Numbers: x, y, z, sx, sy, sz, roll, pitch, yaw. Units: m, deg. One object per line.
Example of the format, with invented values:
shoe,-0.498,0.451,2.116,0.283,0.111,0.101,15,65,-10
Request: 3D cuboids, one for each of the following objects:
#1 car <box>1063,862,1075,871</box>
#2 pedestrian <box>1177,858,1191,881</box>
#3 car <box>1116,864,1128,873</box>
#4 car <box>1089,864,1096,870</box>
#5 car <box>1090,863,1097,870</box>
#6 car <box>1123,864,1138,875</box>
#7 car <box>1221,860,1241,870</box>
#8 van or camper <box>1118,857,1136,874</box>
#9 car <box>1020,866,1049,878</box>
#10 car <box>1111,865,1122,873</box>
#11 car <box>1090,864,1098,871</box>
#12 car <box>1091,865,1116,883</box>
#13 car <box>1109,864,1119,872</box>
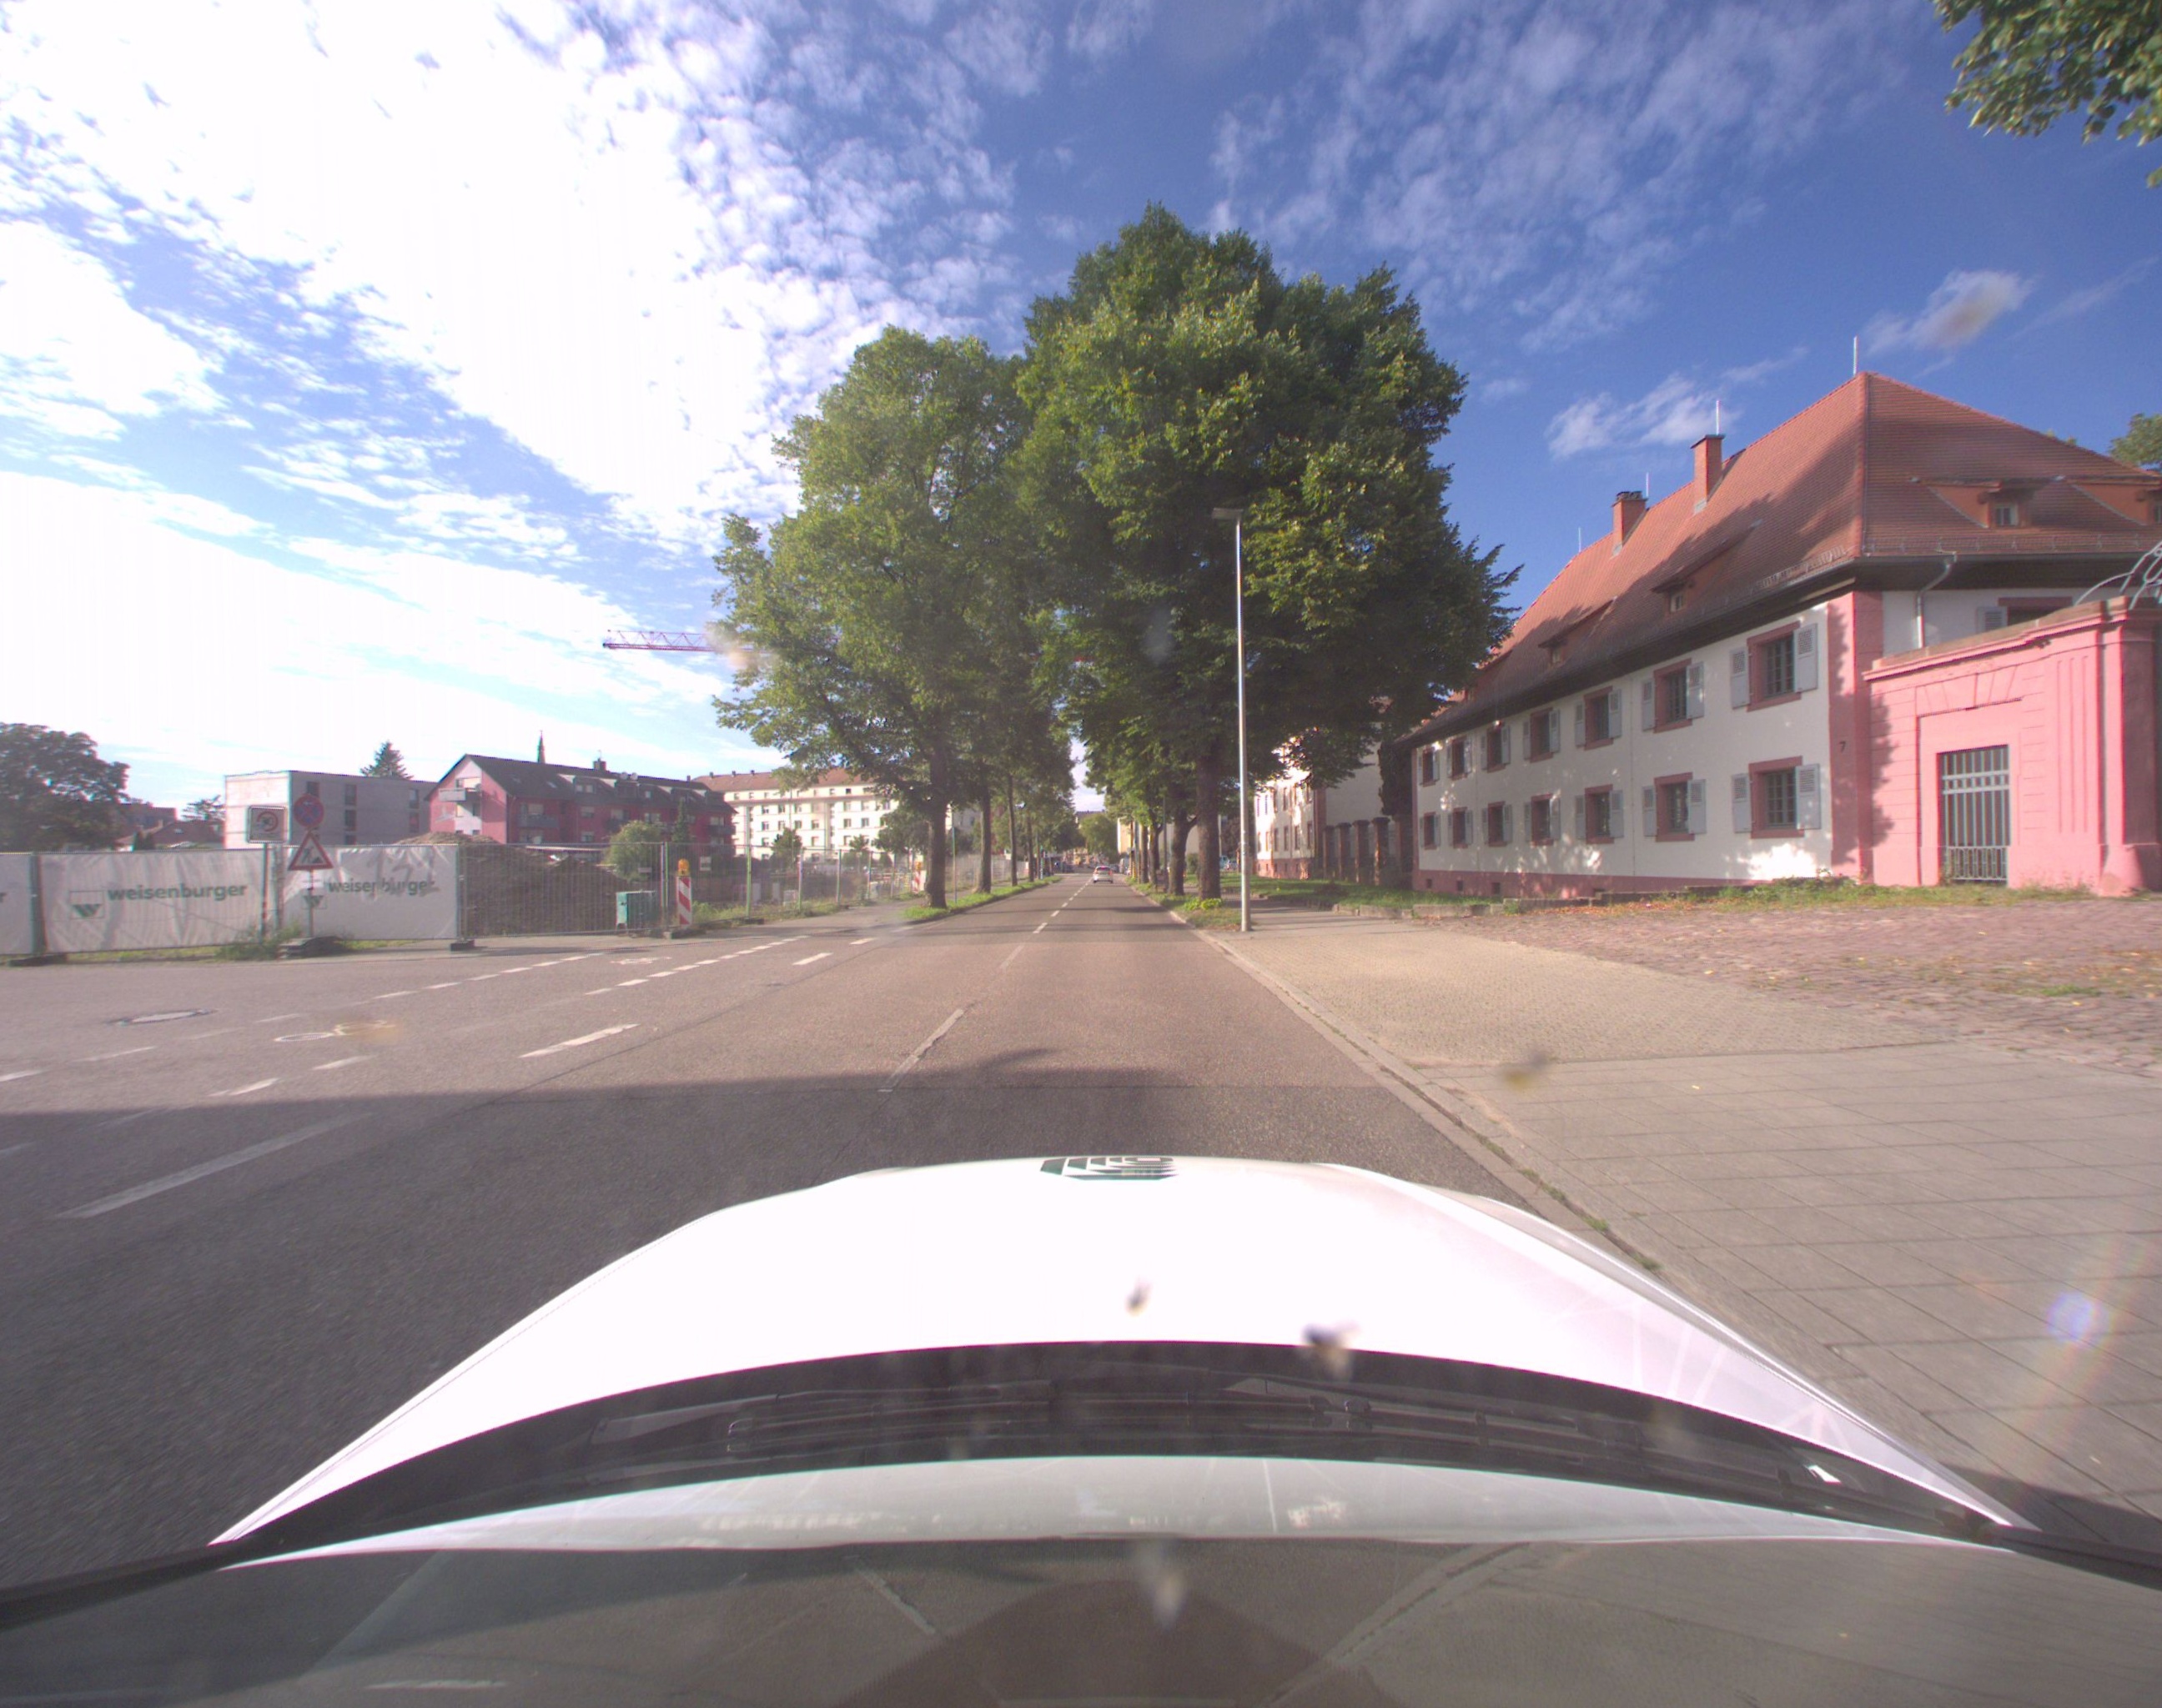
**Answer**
car,-2.172,2.318,148.486,1.990,1.640,3.993,-1,-1,-5
pedestrian,7.459,1.142,59.096,0.811,1.590,0.769,-3,-1,0
car,7.206,2.527,142.941,1.987,1.574,4.000,-1,-1,0
car,3.321,3.803,240.507,1.986,1.755,4.001,0,-1,2
car,3.398,3.453,219.678,1.986,1.755,4.001,0,-1,2
car,7.666,2.330,125.968,1.988,1.616,4.404,-1,-1,-2
car,22.229,1.638,120.797,1.988,1.442,3.997,-1,-1,-1
van or camper,7.432,1.893,132.015,2.204,2.607,5.366,-1,-1,-3
car,-6.334,2.499,111.396,1.974,1.570,4.024,0,-1,30
car,6.634,2.841,153.675,1.987,1.574,4.000,-1,-1,0
car,3.285,3.469,205.770,1.986,1.755,4.001,0,-1,2
car,2.008,1.831,74.443,1.988,1.555,4.270,1,-1,-2
car,6.543,2.777,161.545,1.987,1.530,4.000,-1,-1,0
